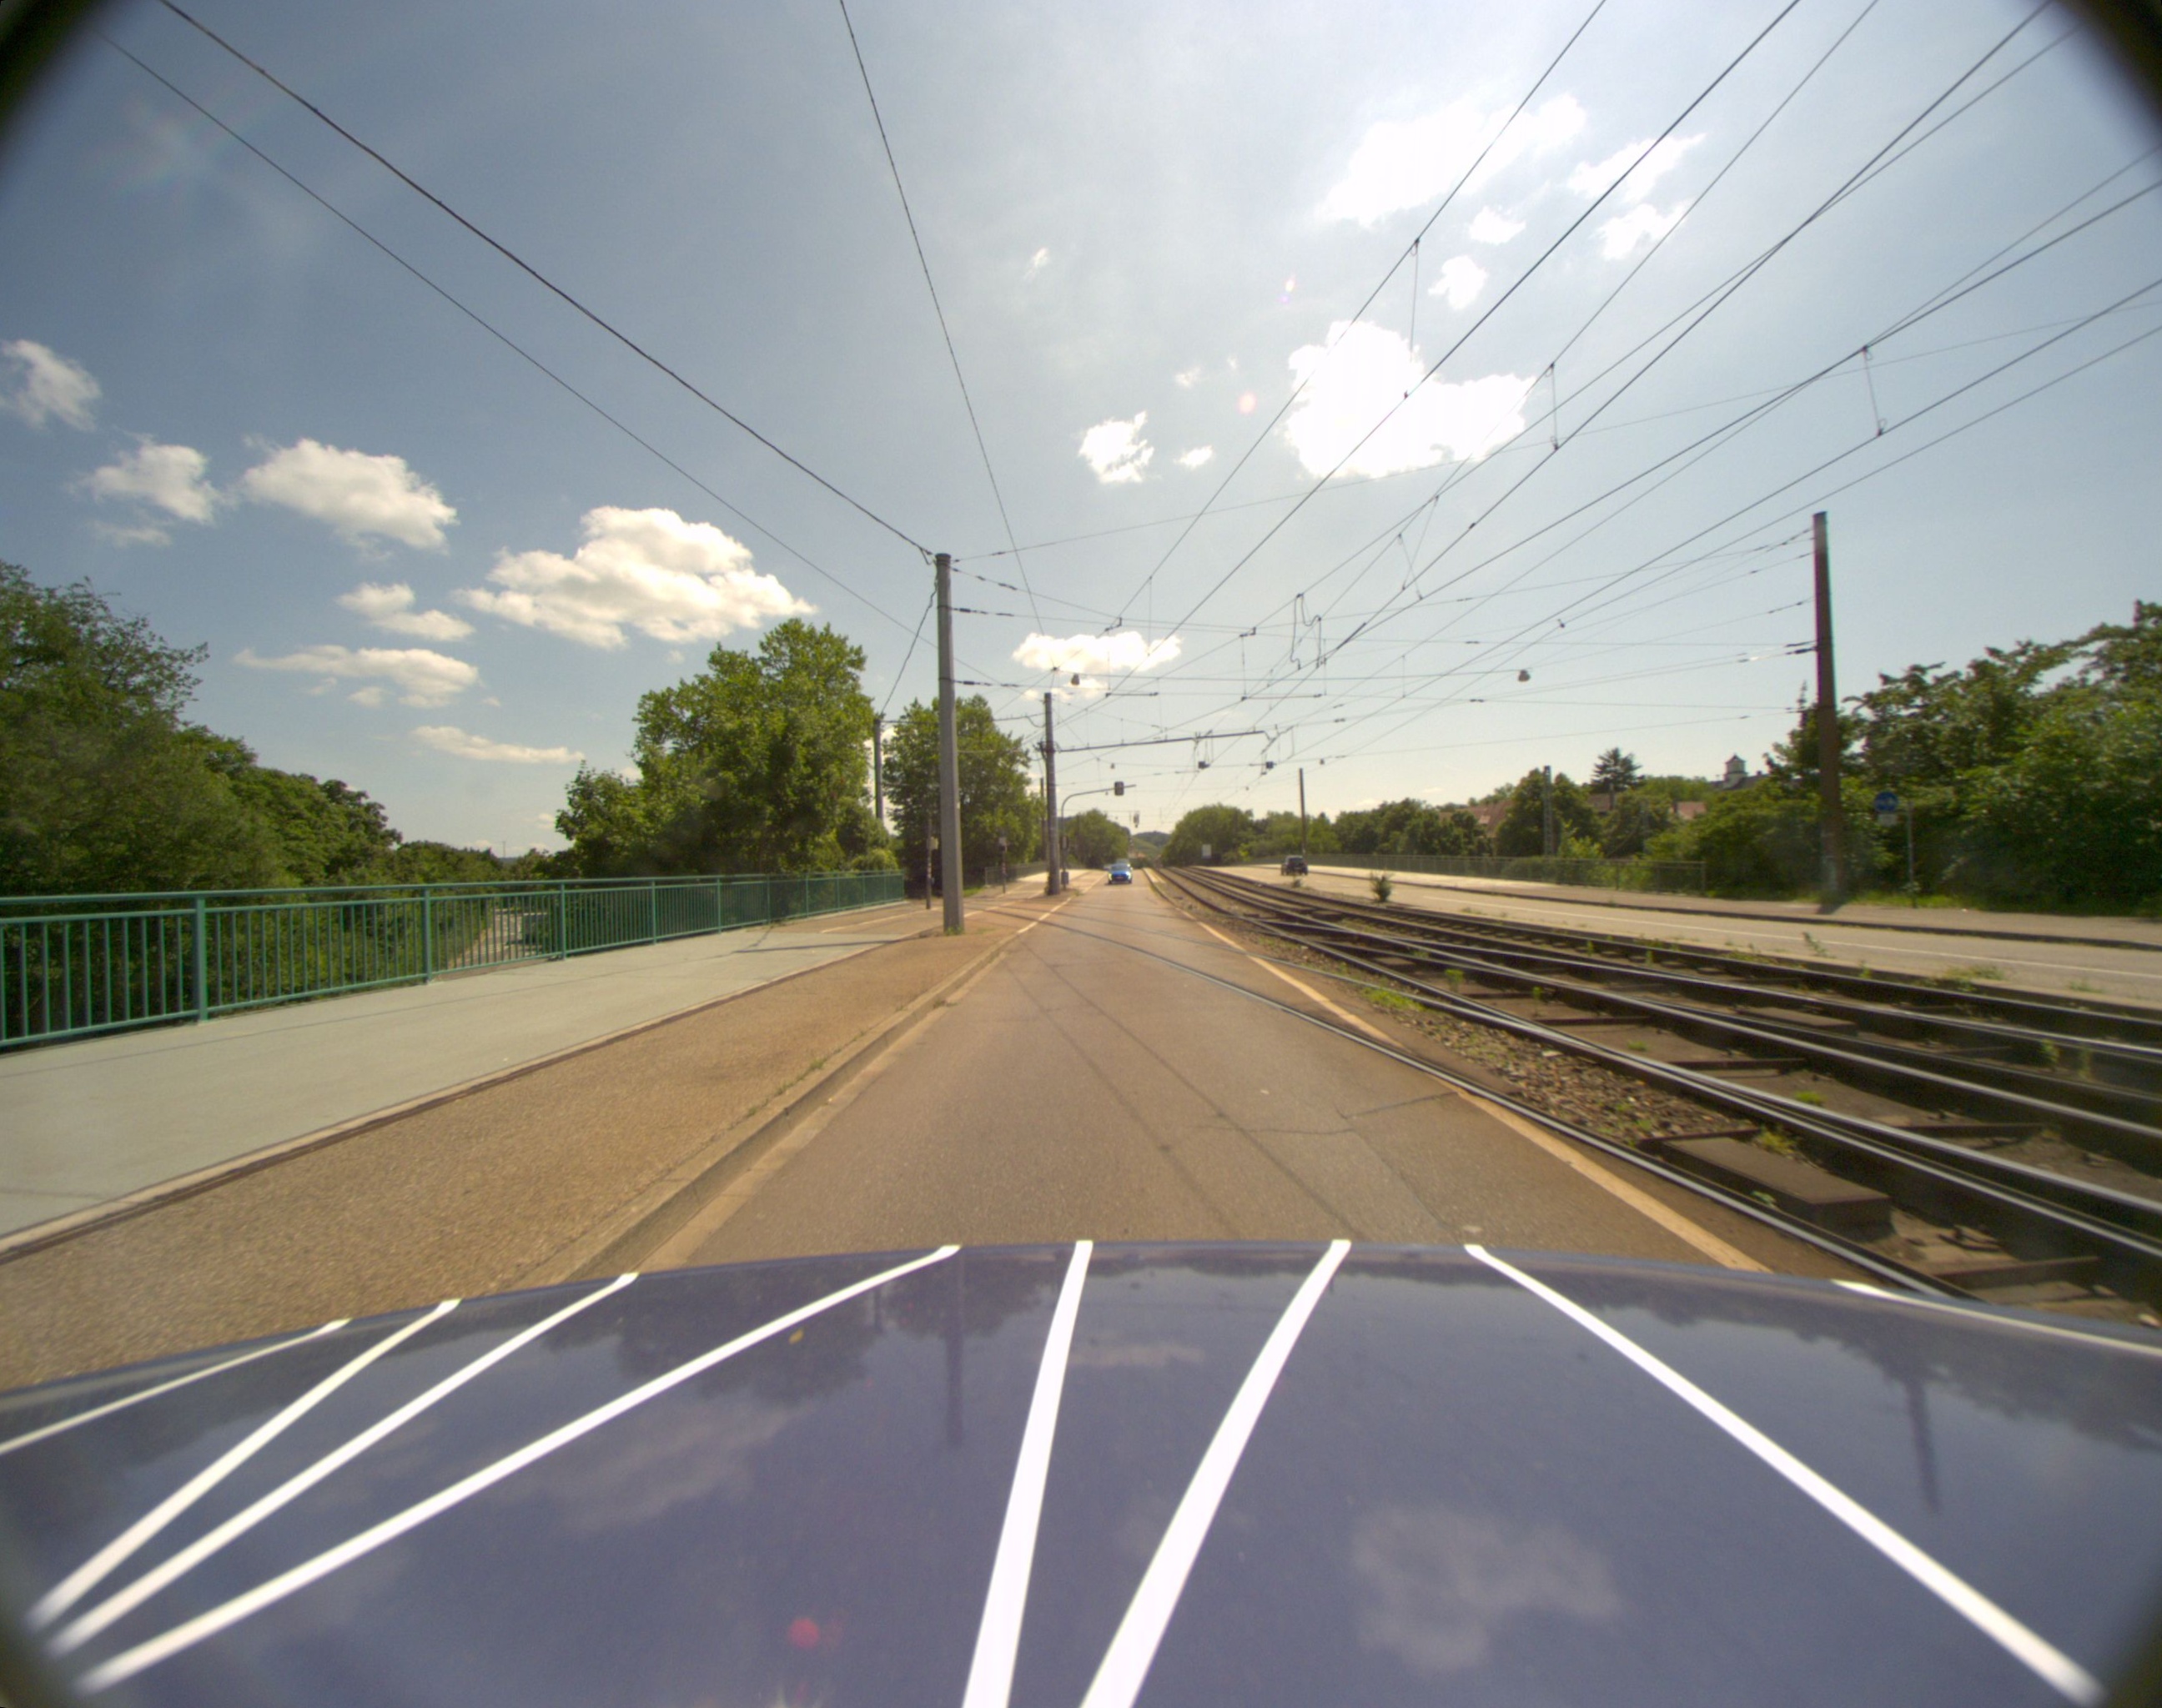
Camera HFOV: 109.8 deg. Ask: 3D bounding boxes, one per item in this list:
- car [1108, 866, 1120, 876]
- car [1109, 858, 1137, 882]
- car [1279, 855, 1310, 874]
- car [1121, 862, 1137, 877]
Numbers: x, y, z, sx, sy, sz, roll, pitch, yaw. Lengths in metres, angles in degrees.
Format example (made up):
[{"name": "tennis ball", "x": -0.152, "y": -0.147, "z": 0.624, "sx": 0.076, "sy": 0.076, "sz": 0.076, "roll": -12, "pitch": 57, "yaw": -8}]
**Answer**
[{"name": "car", "x": 5.823, "y": 2.996, "z": 134.338, "sx": 1.998, "sy": 1.542, "sz": 4.725, "roll": -2, "pitch": -3, "yaw": 2}, {"name": "car", "x": 3.116, "y": 1.235, "z": 56.362, "sx": 1.864, "sy": 1.629, "sz": 4.003, "roll": -2, "pitch": -2, "yaw": 5}, {"name": "car", "x": 17.086, "y": 0.833, "z": 60.848, "sx": 1.708, "sy": 1.501, "sz": 3.735, "roll": -1, "pitch": -1, "yaw": 5}, {"name": "car", "x": 5.895, "y": 1.920, "z": 93.306, "sx": 1.683, "sy": 1.736, "sz": 3.687, "roll": -2, "pitch": -2, "yaw": 2}]
